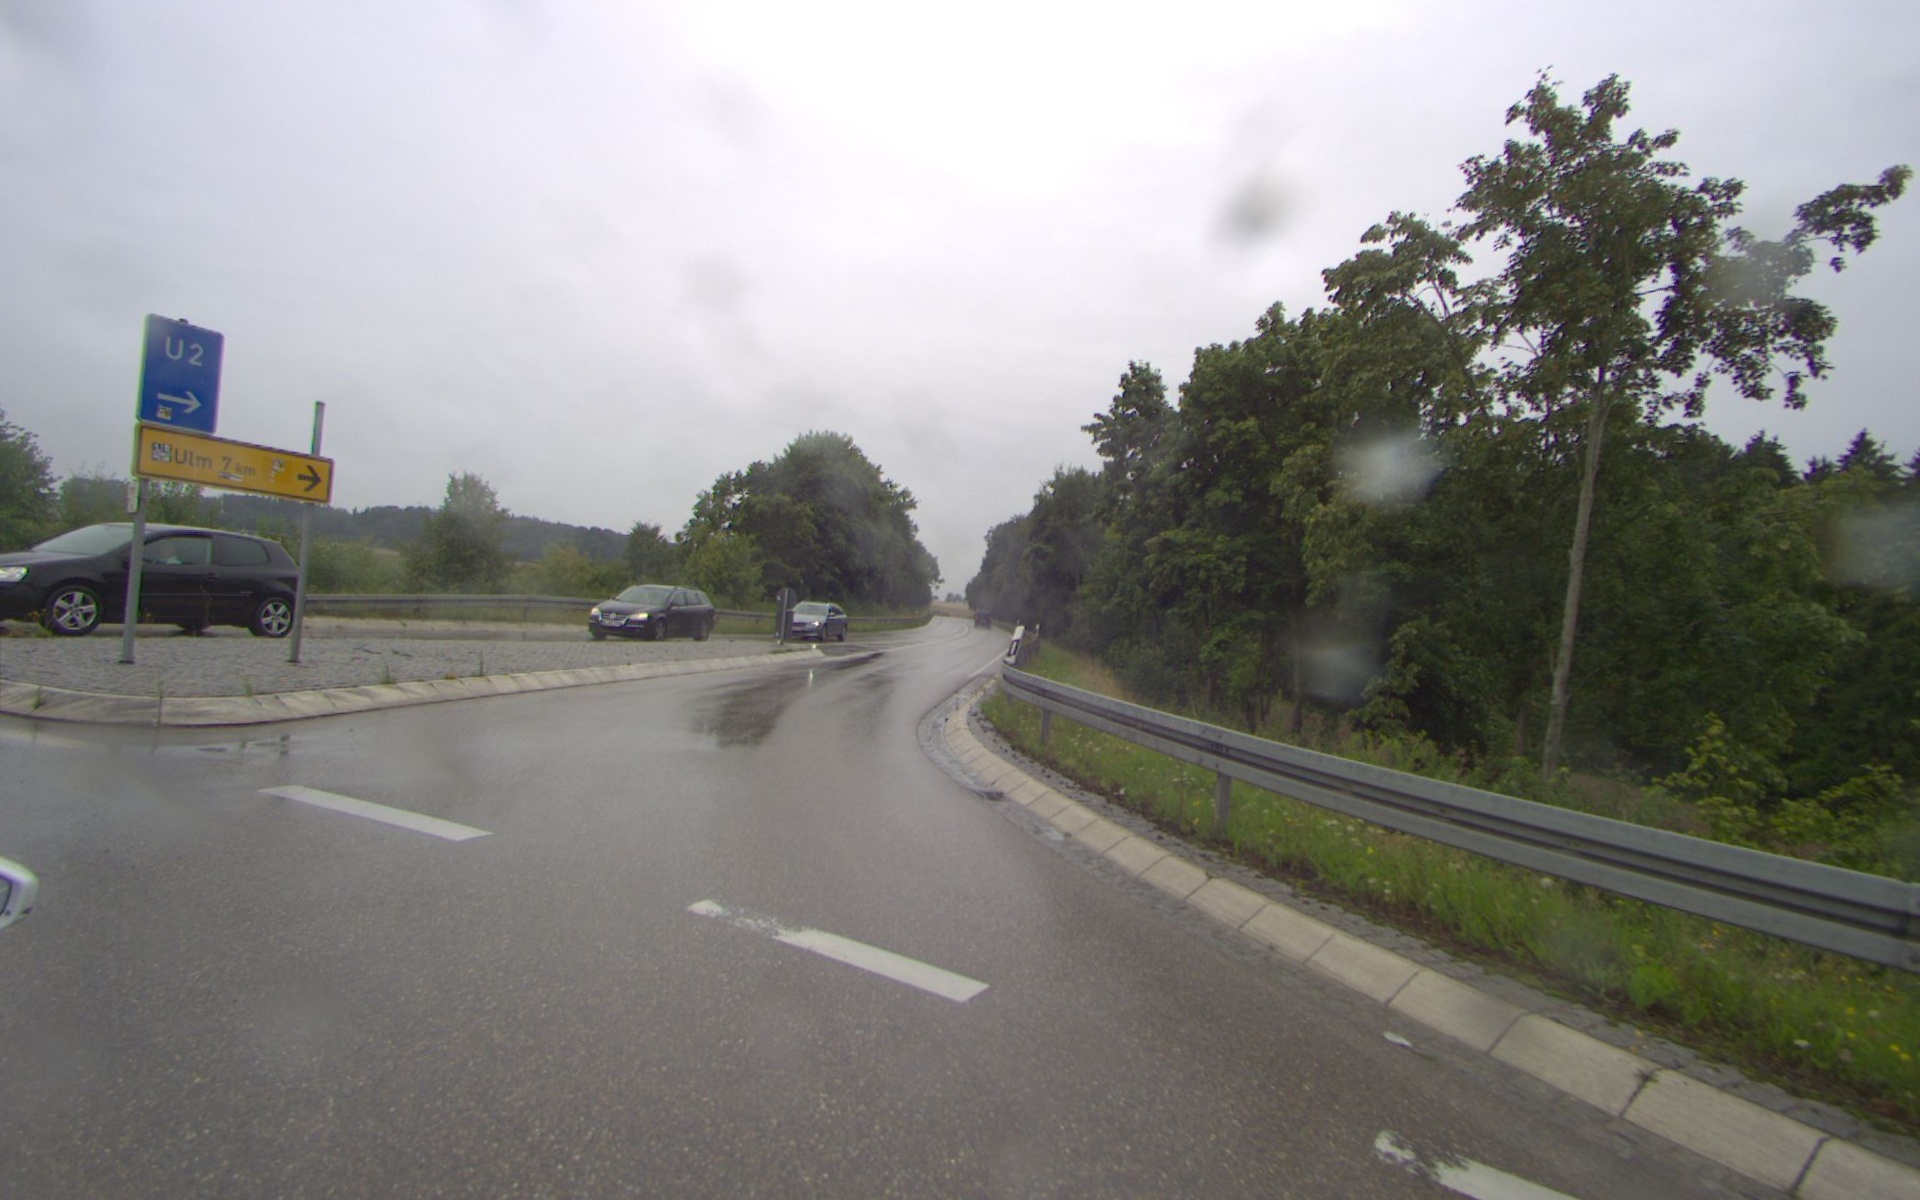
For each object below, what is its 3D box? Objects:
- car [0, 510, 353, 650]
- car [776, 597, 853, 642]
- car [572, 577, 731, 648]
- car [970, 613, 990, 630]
[{"bbox_3d":[-10.802,-0.217,13.376,1.839,1.437,4.508,7,-2,16],"label":"car"},{"bbox_3d":[-5.634,0.809,39.531,1.731,1.437,4.509,7,-2,7],"label":"car"},{"bbox_3d":[-7.766,0.391,25.874,1.913,1.387,4.509,7,-2,11],"label":"car"},{"bbox_3d":[2.275,2.420,114.874,1.963,1.595,3.996,7,1,-2],"label":"car"}]
